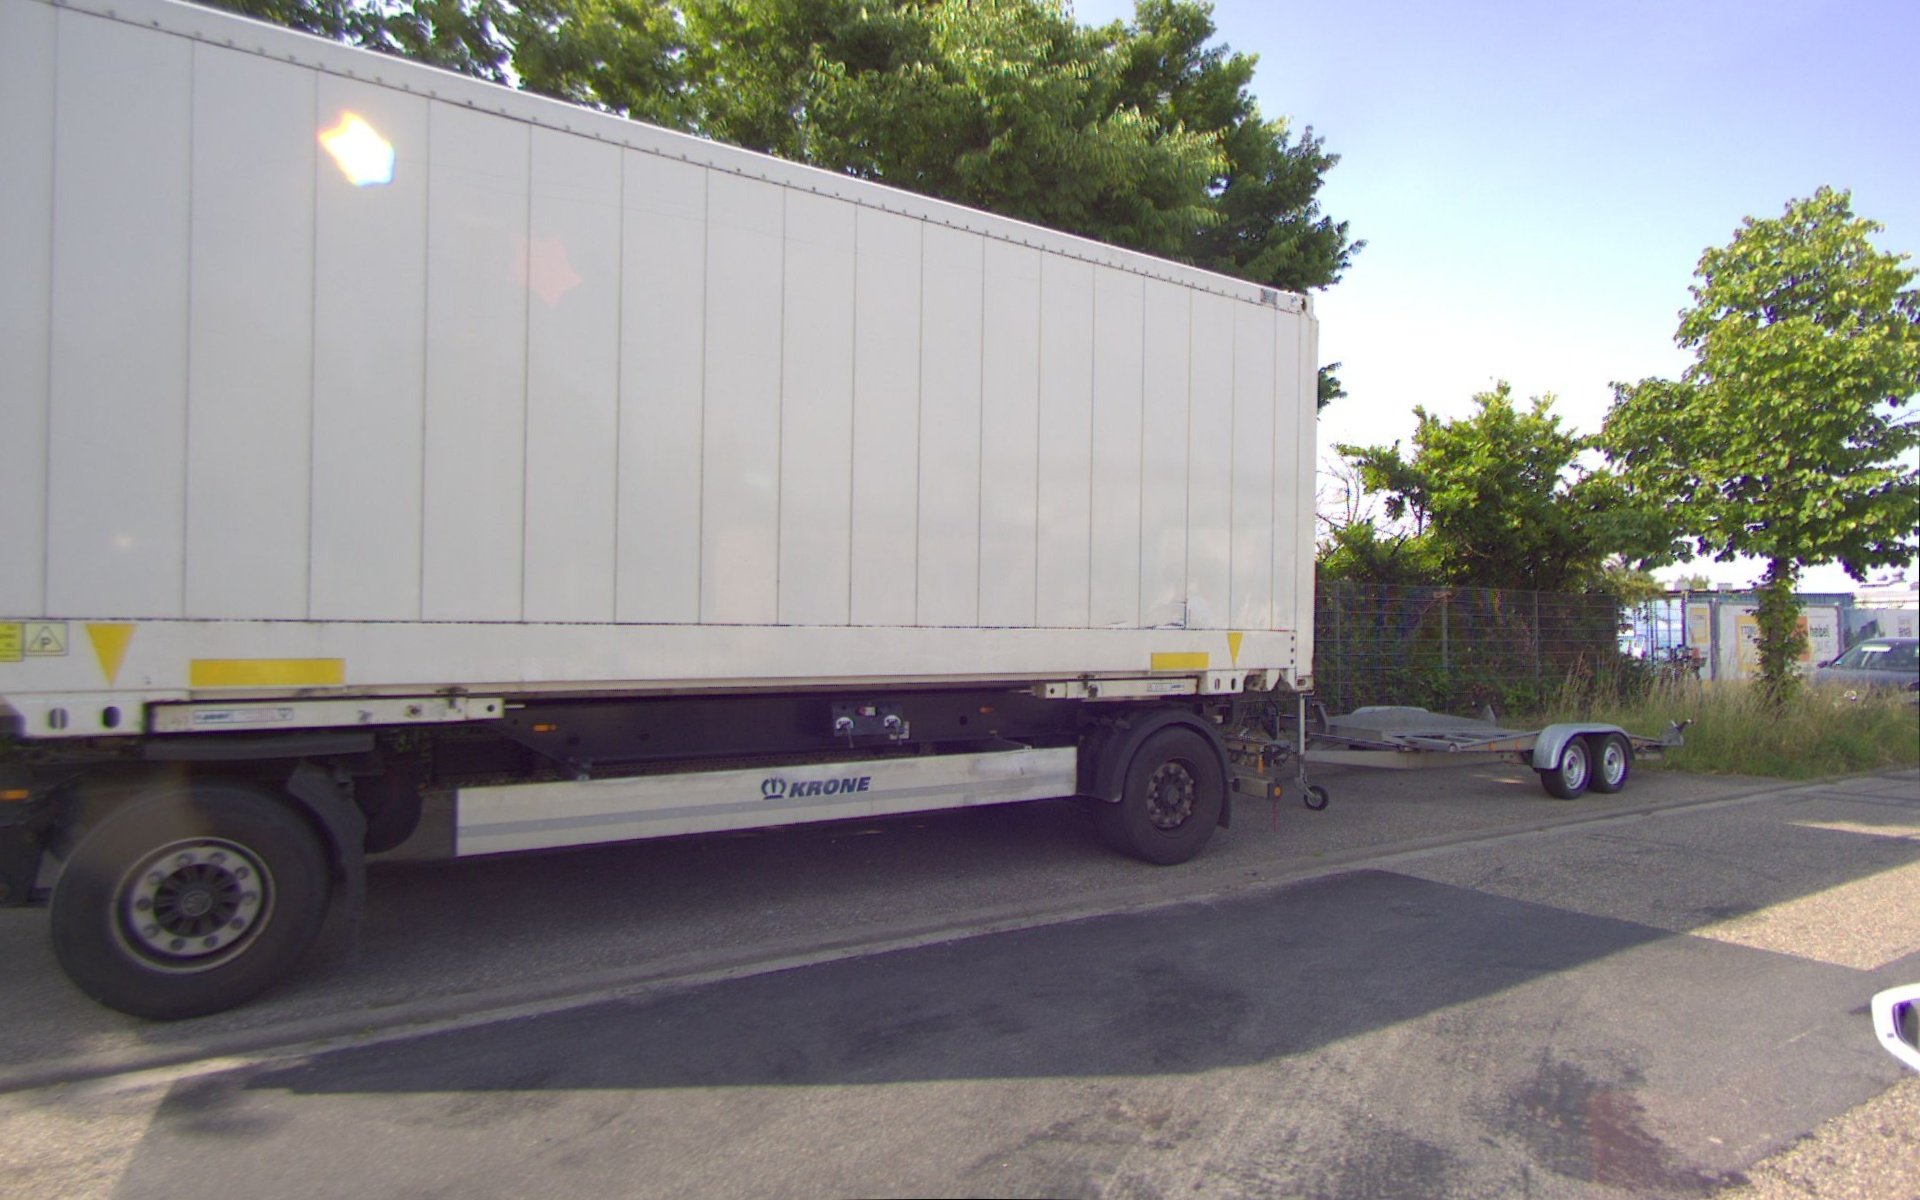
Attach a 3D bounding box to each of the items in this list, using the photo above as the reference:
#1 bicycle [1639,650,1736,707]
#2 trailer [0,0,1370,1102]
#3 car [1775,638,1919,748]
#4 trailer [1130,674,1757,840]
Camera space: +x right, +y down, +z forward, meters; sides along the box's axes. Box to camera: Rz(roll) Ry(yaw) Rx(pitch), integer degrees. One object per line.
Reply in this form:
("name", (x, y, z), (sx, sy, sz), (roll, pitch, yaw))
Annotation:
("bicycle", (13.743, 1.460, 18.944), (2.424, 0.985, 0.559), (1, -3, -31))
("trailer", (-1.873, -0.198, 5.853), (9.652, 3.936, 2.687), (1, -1, -31))
("car", (14.486, 1.331, 15.396), (4.043, 1.489, 1.681), (1, -3, -29))
("trailer", (4.911, 1.322, 9.915), (6.171, 0.998, 2.636), (1, -3, -31))
